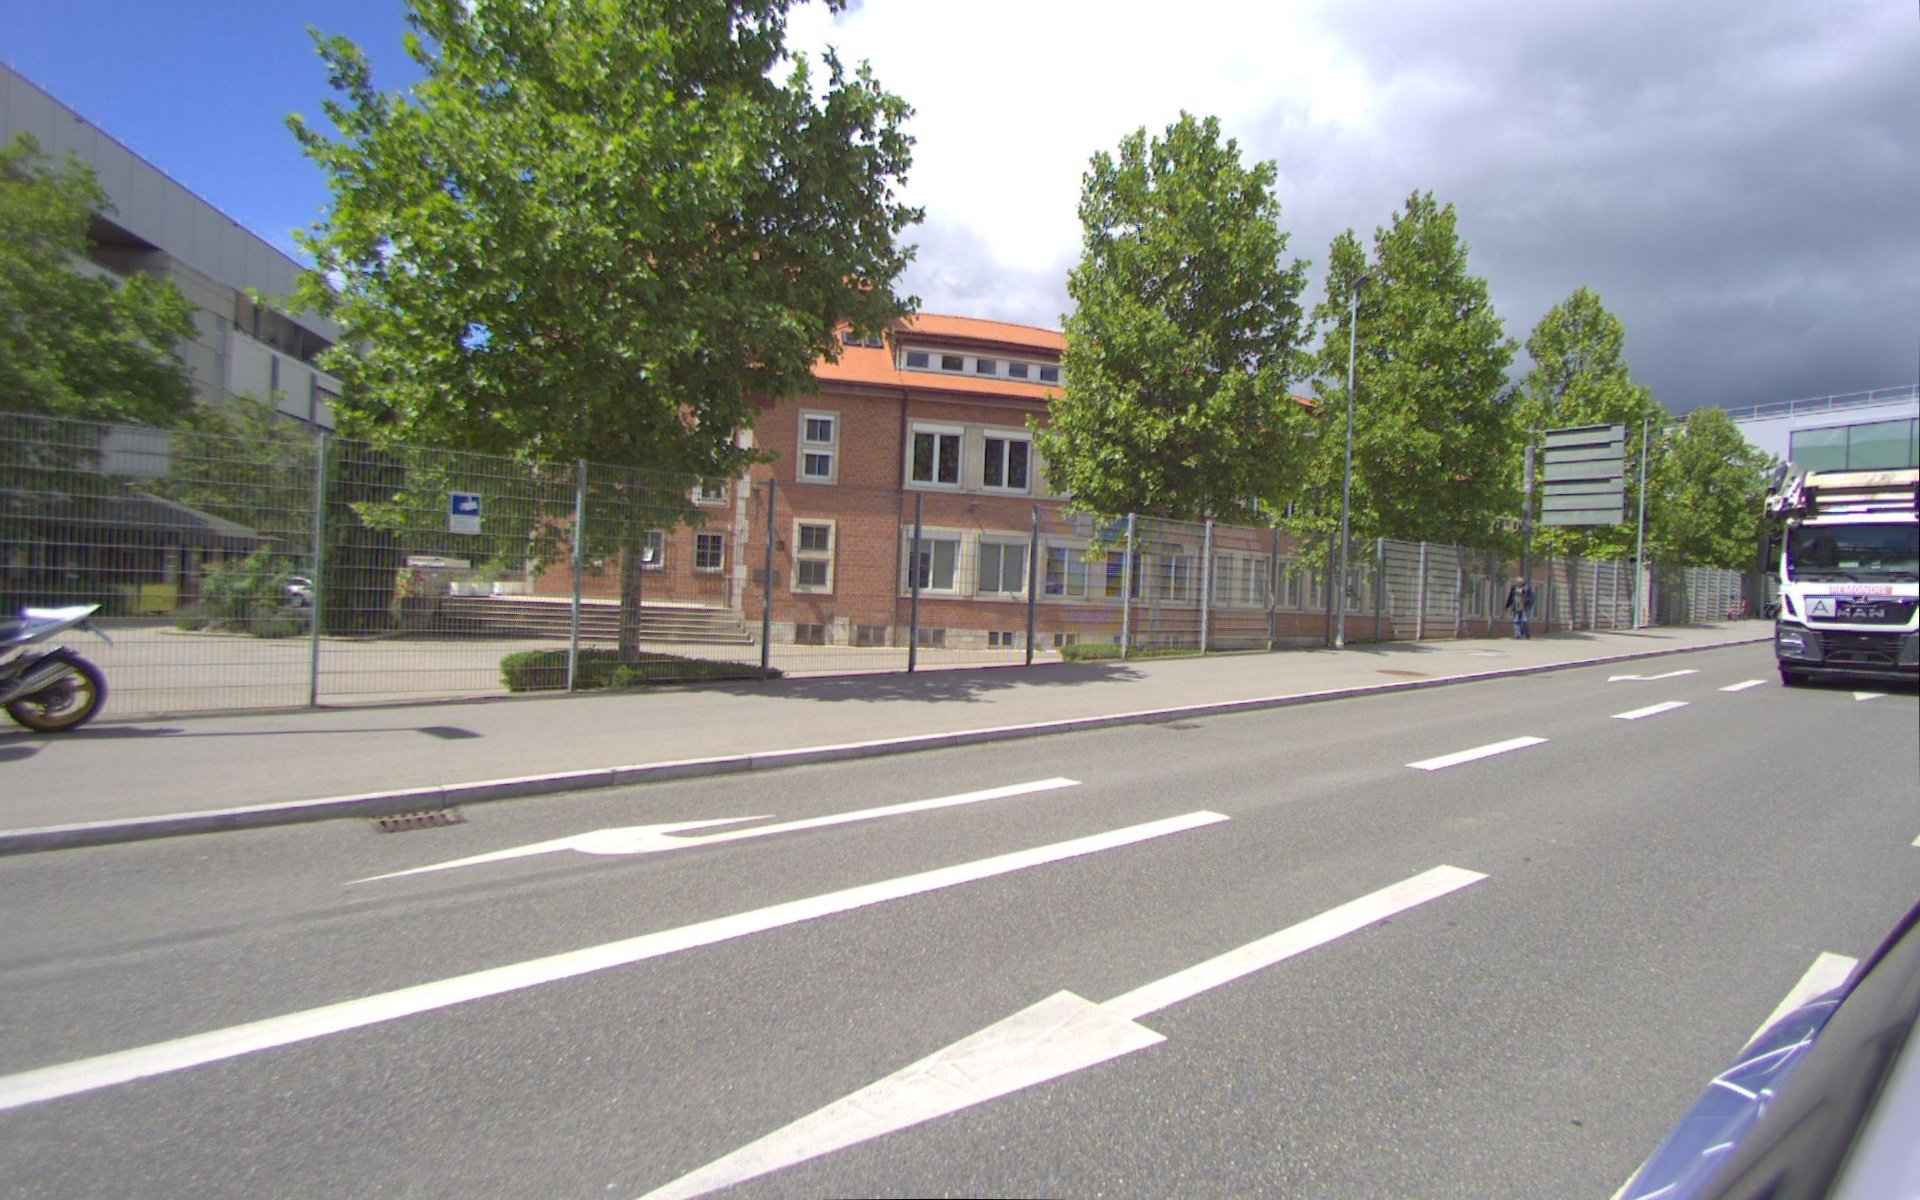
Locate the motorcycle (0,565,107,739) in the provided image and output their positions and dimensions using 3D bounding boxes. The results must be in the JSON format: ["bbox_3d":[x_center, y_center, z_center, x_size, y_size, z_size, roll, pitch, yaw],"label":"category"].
[{"bbox_3d":[-7.439,0.371,7.289,1.978,1.238,0.688,-1,3,-41],"label":"motorcycle"}]

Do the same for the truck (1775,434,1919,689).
[{"bbox_3d":[18.260,-0.653,19.436,9.999,3.962,2.492,-1,0,-42],"label":"truck"}]

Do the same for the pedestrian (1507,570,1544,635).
[{"bbox_3d":[16.081,0.056,28.797,0.696,1.804,0.648,4,3,44],"label":"pedestrian"}]
